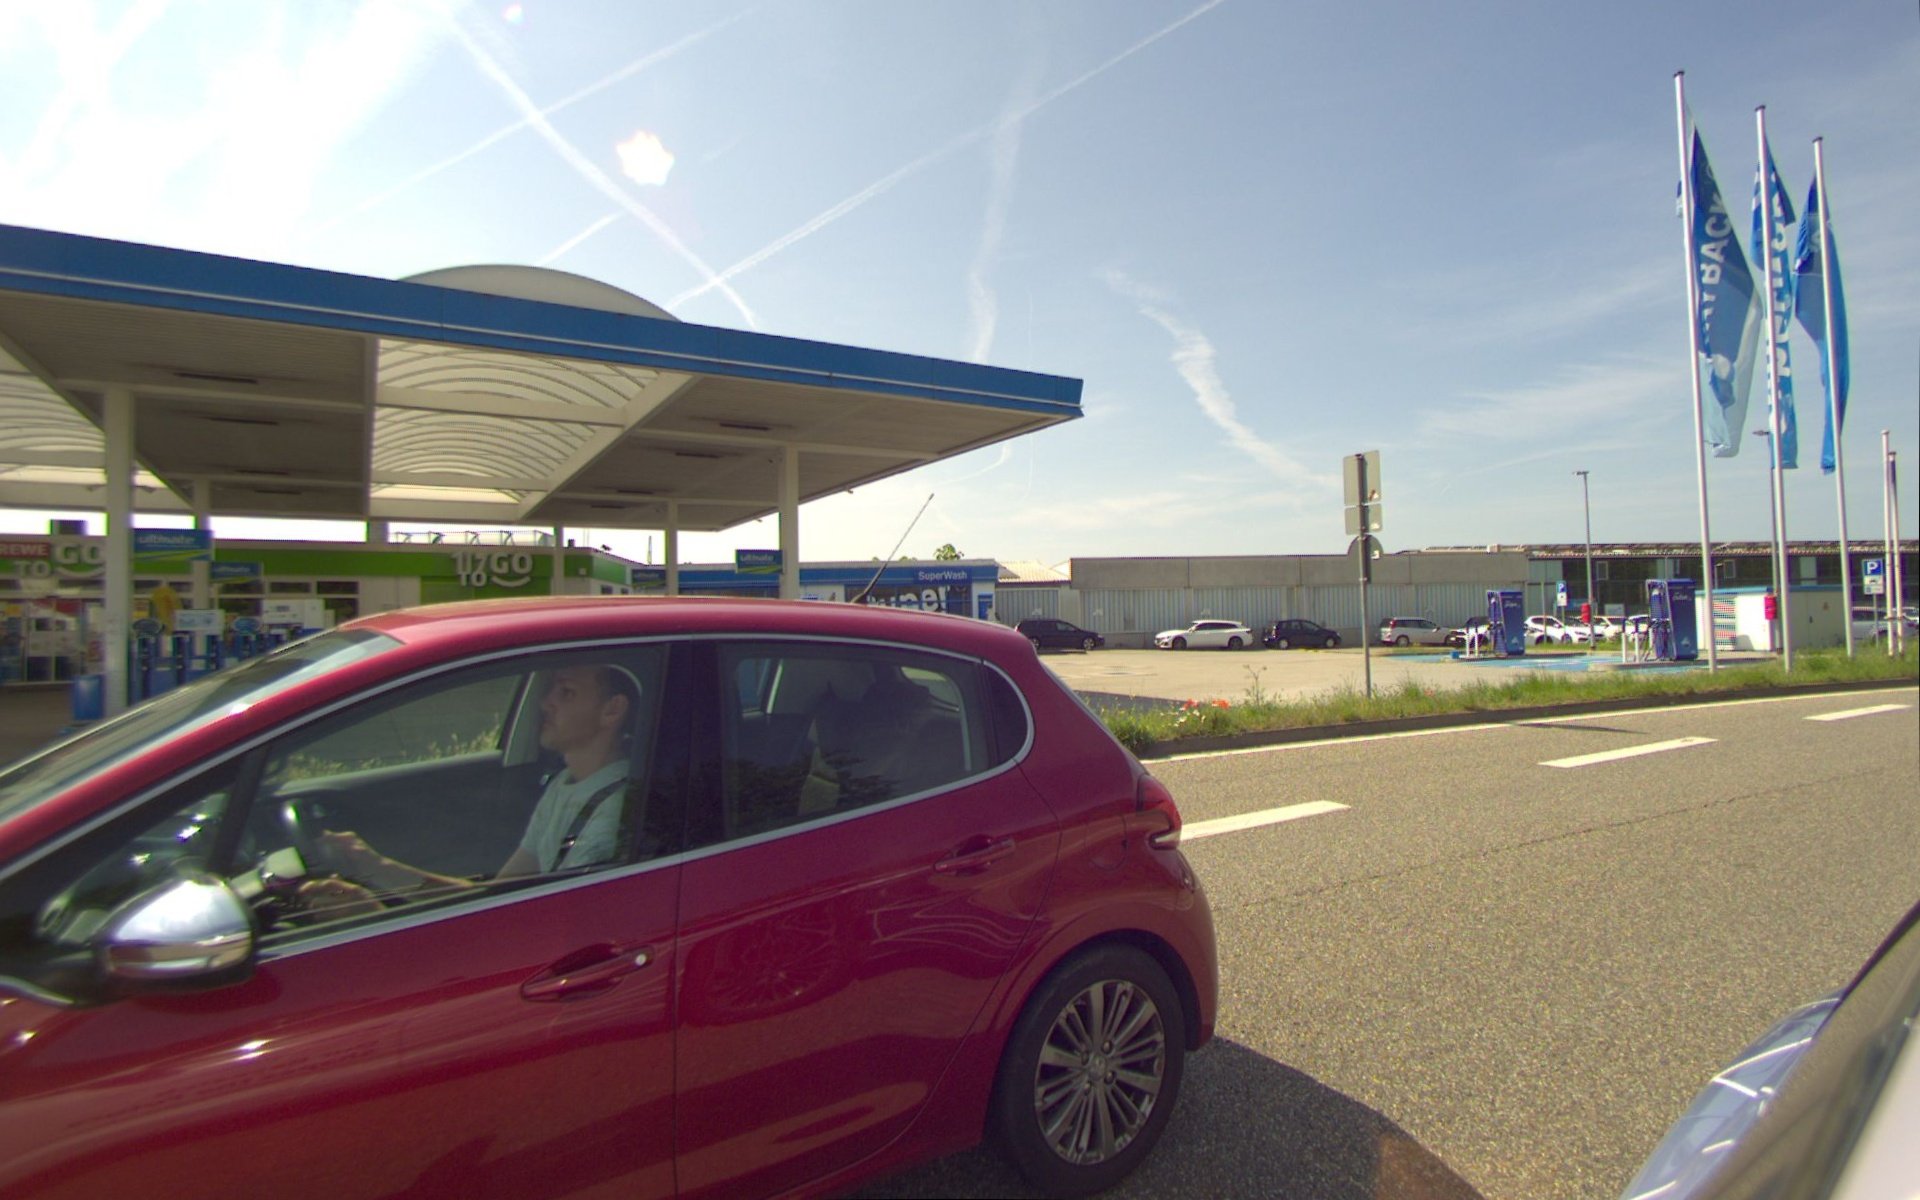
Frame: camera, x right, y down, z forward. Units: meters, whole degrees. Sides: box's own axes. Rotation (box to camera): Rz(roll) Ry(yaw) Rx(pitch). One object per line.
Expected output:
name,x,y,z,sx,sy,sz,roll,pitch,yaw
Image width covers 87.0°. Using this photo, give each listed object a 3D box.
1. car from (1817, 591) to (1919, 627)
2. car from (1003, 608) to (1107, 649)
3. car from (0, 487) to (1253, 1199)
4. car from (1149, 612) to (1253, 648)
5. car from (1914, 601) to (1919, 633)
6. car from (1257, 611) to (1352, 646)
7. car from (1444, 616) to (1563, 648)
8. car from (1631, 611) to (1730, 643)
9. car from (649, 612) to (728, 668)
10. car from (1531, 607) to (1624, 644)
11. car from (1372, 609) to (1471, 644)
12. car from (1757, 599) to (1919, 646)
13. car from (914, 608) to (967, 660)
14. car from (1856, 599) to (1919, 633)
car,45.246,0.465,50.029,1.786,1.659,4.467,1,-1,-3
car,4.487,1.355,48.247,4.560,1.849,1.893,-1,-1,-8
car,-1.221,0.629,2.503,3.641,1.592,1.807,0,1,-33
car,11.606,1.440,48.903,4.439,1.625,1.892,-1,-1,-6
car,50.345,0.838,50.142,1.786,1.659,4.467,1,-1,-3
car,16.870,1.402,49.716,3.942,1.625,1.891,-1,-1,-4
car,22.946,1.361,42.874,4.054,1.269,1.695,-1,-1,7
car,34.848,1.299,49.080,1.787,1.477,4.047,1,-1,-3
car,-10.032,1.510,37.689,1.866,1.850,4.734,-2,-3,-3
car,29.418,1.200,48.369,1.854,1.625,4.021,-1,-1,-1
car,22.713,1.295,49.922,3.945,1.625,1.890,-1,-1,0
car,36.061,0.934,41.464,5.208,1.854,1.974,-2,-1,36
car,-0.788,1.256,38.788,1.853,1.849,4.173,-1,-1,-3
car,47.371,0.811,50.133,1.786,1.659,4.467,1,-1,-3
